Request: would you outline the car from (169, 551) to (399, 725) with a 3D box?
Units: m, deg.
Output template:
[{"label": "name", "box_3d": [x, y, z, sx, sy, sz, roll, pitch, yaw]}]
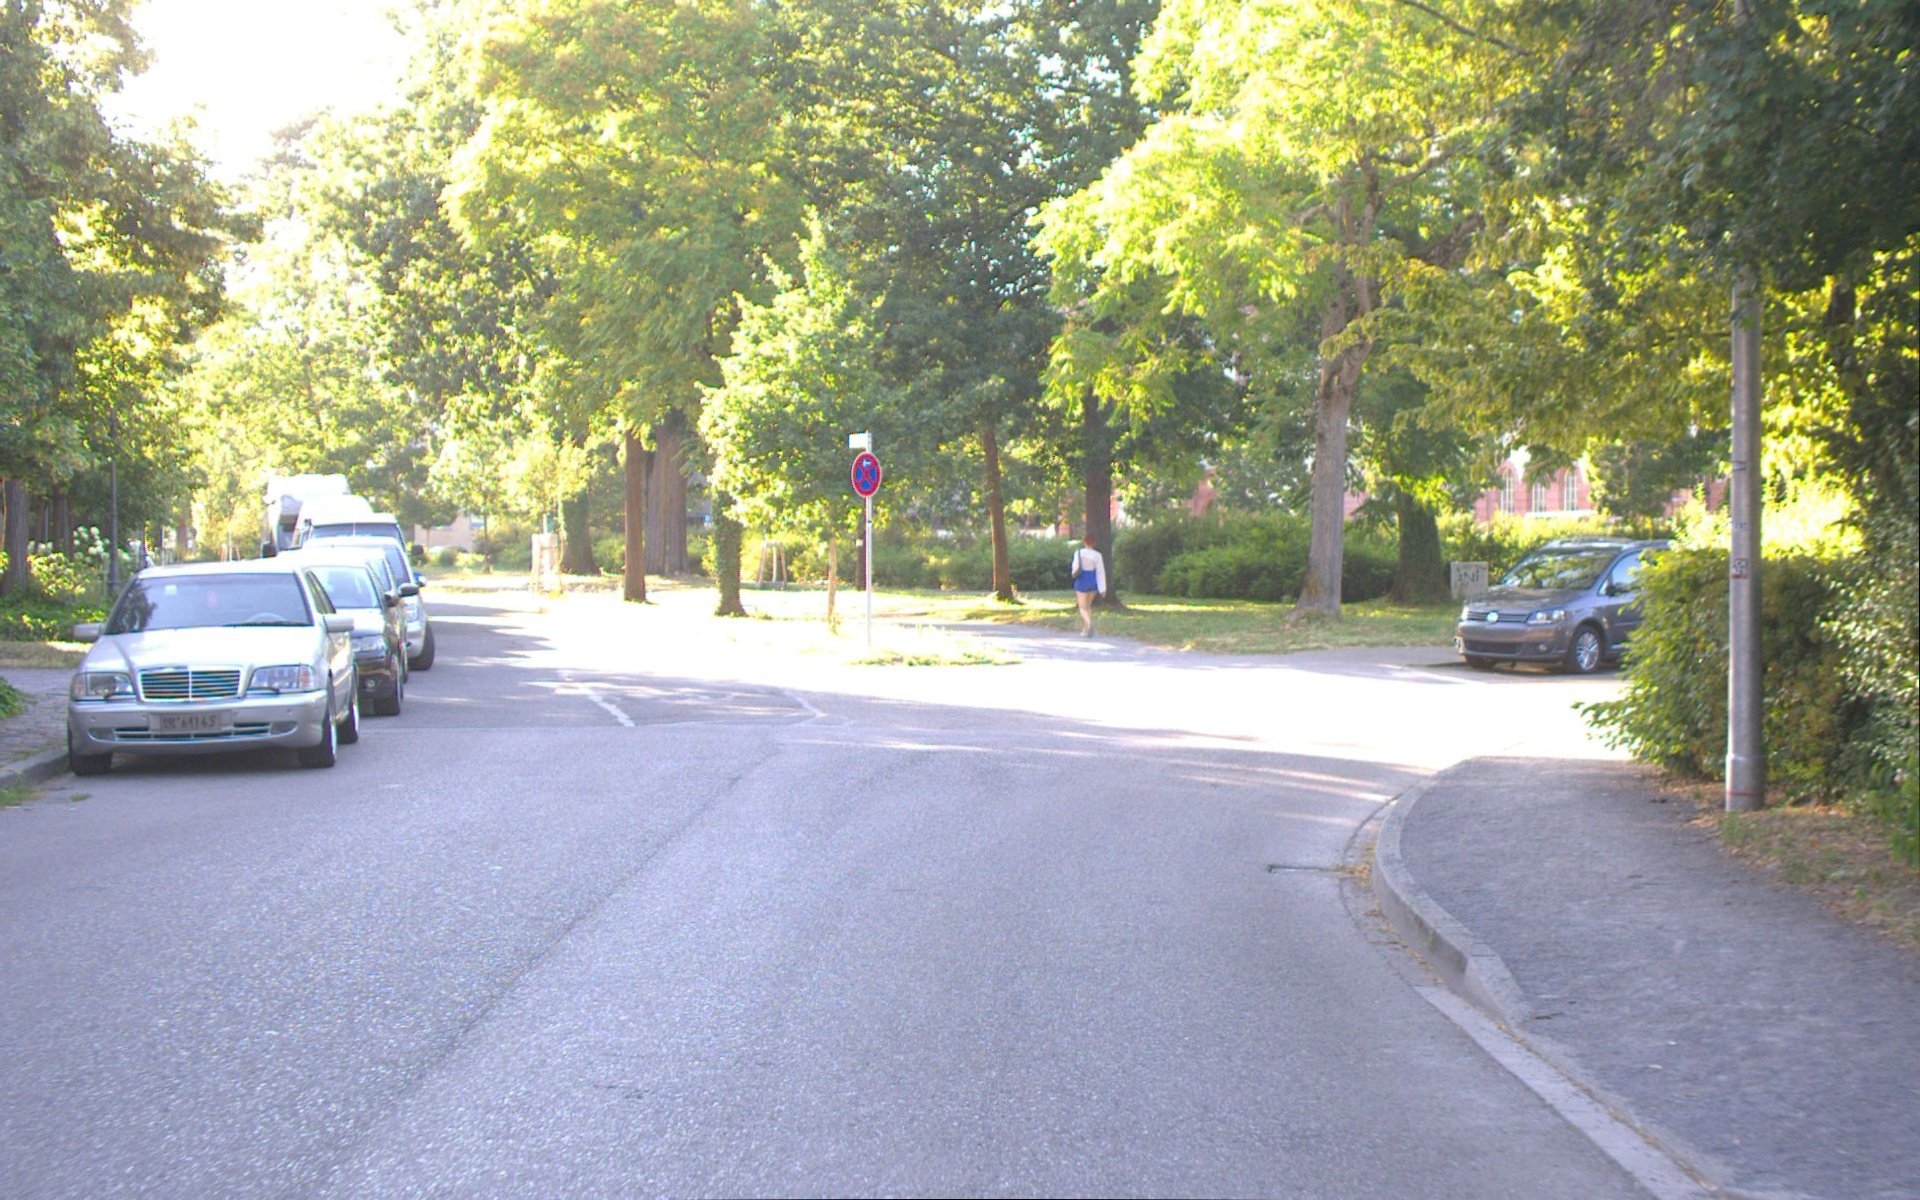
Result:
[{"label": "car", "box_3d": [-6.141, 0.294, 31.635, 1.824, 1.411, 4.496, -2, 1, -8]}]

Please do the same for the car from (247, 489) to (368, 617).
[{"label": "car", "box_3d": [-12.550, -0.911, 65.939, 1.850, 2.347, 5.188, 0, 1, -15]}]

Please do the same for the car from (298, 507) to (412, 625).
[{"label": "car", "box_3d": [-10.467, -0.614, 59.506, 1.850, 1.939, 4.842, 1, 1, -10]}]

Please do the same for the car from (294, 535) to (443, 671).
[{"label": "car", "box_3d": [-7.222, 0.002, 41.991, 1.704, 1.573, 3.698, 1, 1, -10]}]

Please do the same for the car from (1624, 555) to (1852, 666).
[{"label": "car", "box_3d": [10.766, 0.126, 47.475, 3.417, 1.418, 1.391, 0, 3, -44]}]

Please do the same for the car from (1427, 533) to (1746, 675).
[{"label": "car", "box_3d": [8.072, 0.028, 44.110, 4.309, 1.670, 1.807, 0, 3, -44]}]

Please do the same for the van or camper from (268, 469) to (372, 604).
[{"label": "van or camper", "box_3d": [-14.511, -1.440, 77.760, 2.089, 2.898, 6.334, 0, 1, -12]}]

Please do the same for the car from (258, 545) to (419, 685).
[{"label": "car", "box_3d": [-6.842, 0.126, 38.099, 1.612, 1.435, 3.607, -1, 1, -8]}]

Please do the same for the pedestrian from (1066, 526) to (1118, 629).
[{"label": "pedestrian", "box_3d": [2.040, -0.350, 53.174, 0.773, 1.569, 0.768, 0, 1, 0]}]

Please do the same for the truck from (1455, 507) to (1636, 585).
[{"label": "truck", "box_3d": [23.339, -2.189, 137.576, 2.604, 3.019, 8.010, 0, 1, -30]}]

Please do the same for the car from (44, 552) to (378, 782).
[{"label": "car", "box_3d": [-5.249, 0.402, 24.623, 1.779, 1.411, 4.499, -2, 1, -5]}]
